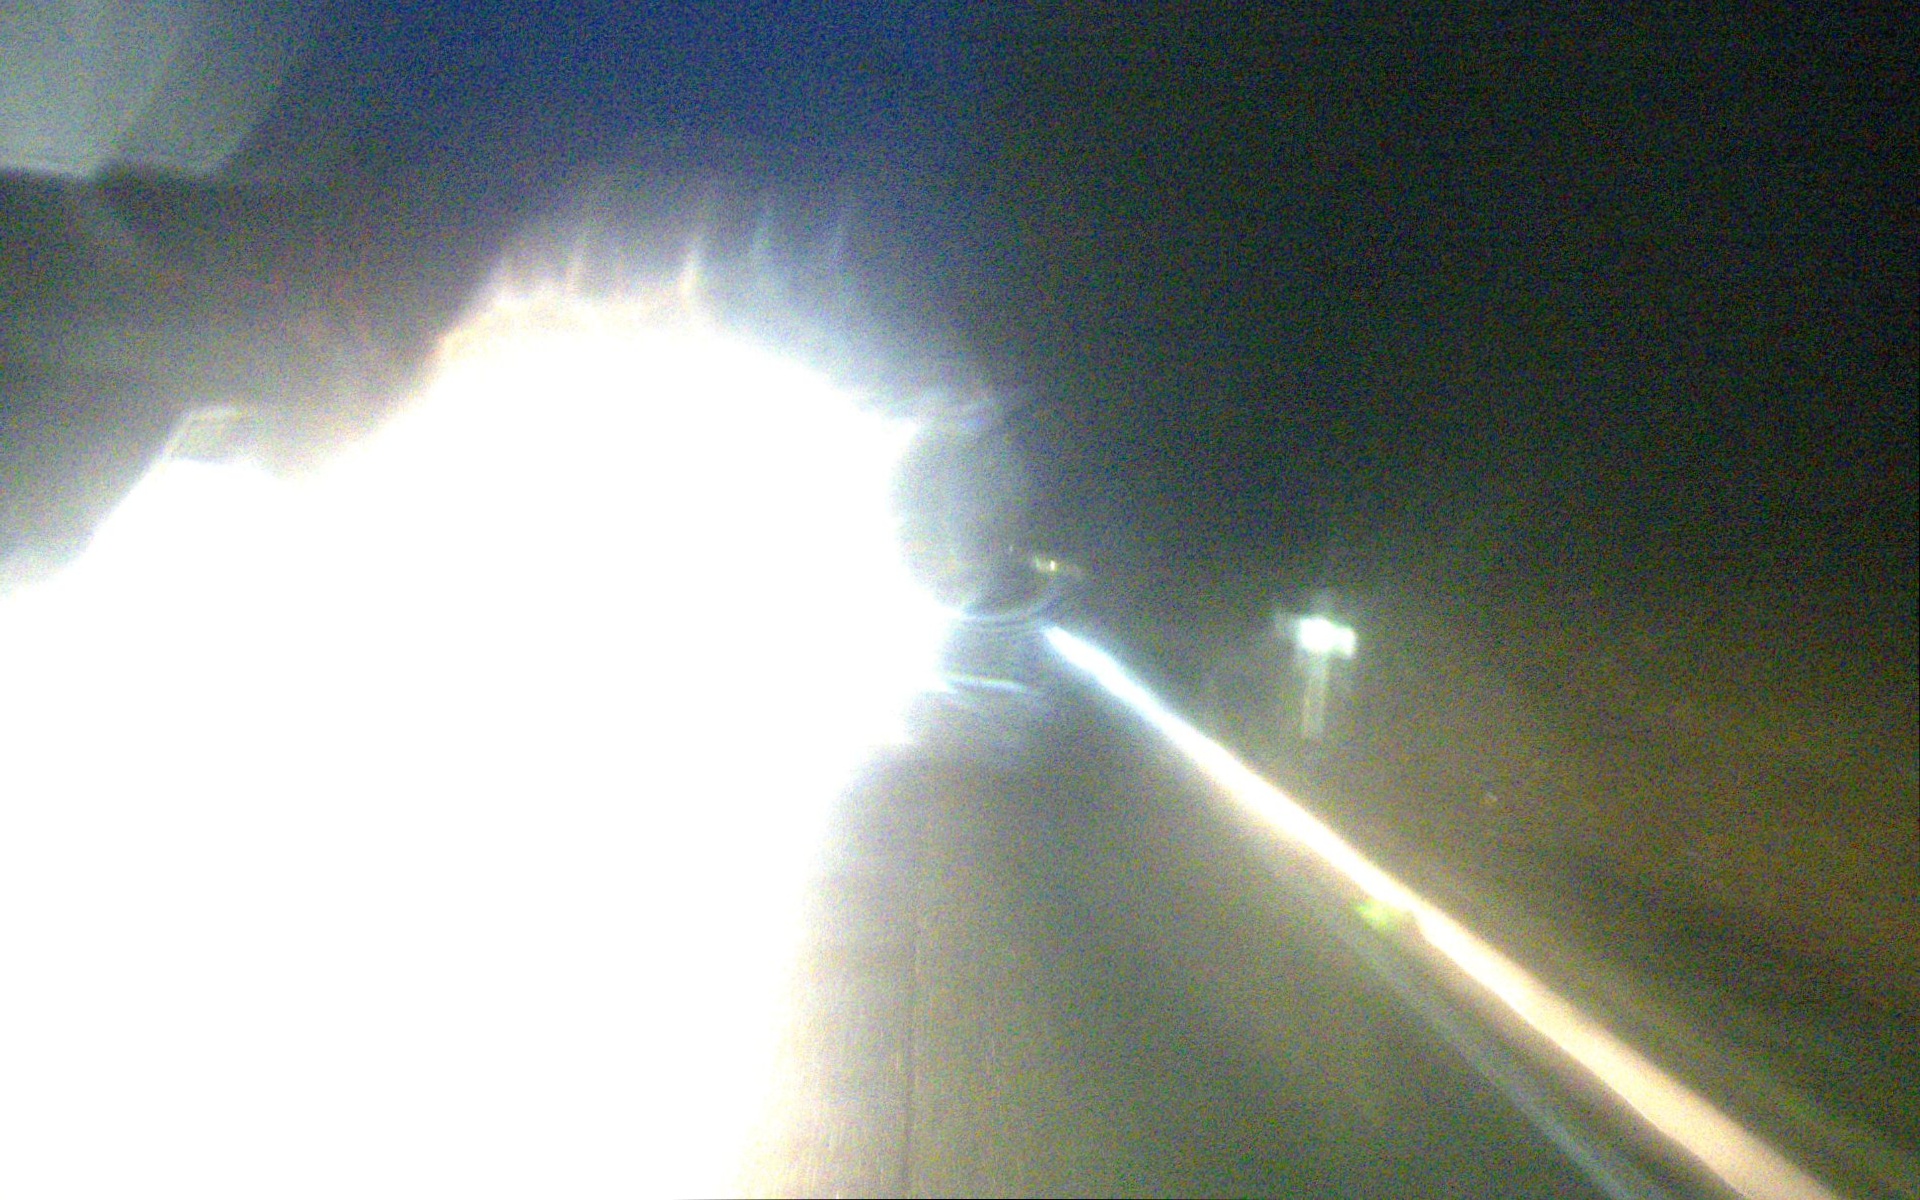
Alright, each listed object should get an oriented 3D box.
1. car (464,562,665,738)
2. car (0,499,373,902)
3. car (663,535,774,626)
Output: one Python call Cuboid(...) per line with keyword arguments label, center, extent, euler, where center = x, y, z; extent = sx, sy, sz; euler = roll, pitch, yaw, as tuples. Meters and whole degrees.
Cuboid(label="car", center=(-4.182, 0.486, 36.855), extent=(1.931, 1.581, 4.001), euler=(-2, 3, -4))
Cuboid(label="car", center=(-3.795, 0.345, 15.039), extent=(1.828, 1.451, 3.794), euler=(-2, 3, -1))
Cuboid(label="car", center=(-4.381, -0.332, 62.780), extent=(1.836, 1.466, 4.391), euler=(0, -2, -2))
